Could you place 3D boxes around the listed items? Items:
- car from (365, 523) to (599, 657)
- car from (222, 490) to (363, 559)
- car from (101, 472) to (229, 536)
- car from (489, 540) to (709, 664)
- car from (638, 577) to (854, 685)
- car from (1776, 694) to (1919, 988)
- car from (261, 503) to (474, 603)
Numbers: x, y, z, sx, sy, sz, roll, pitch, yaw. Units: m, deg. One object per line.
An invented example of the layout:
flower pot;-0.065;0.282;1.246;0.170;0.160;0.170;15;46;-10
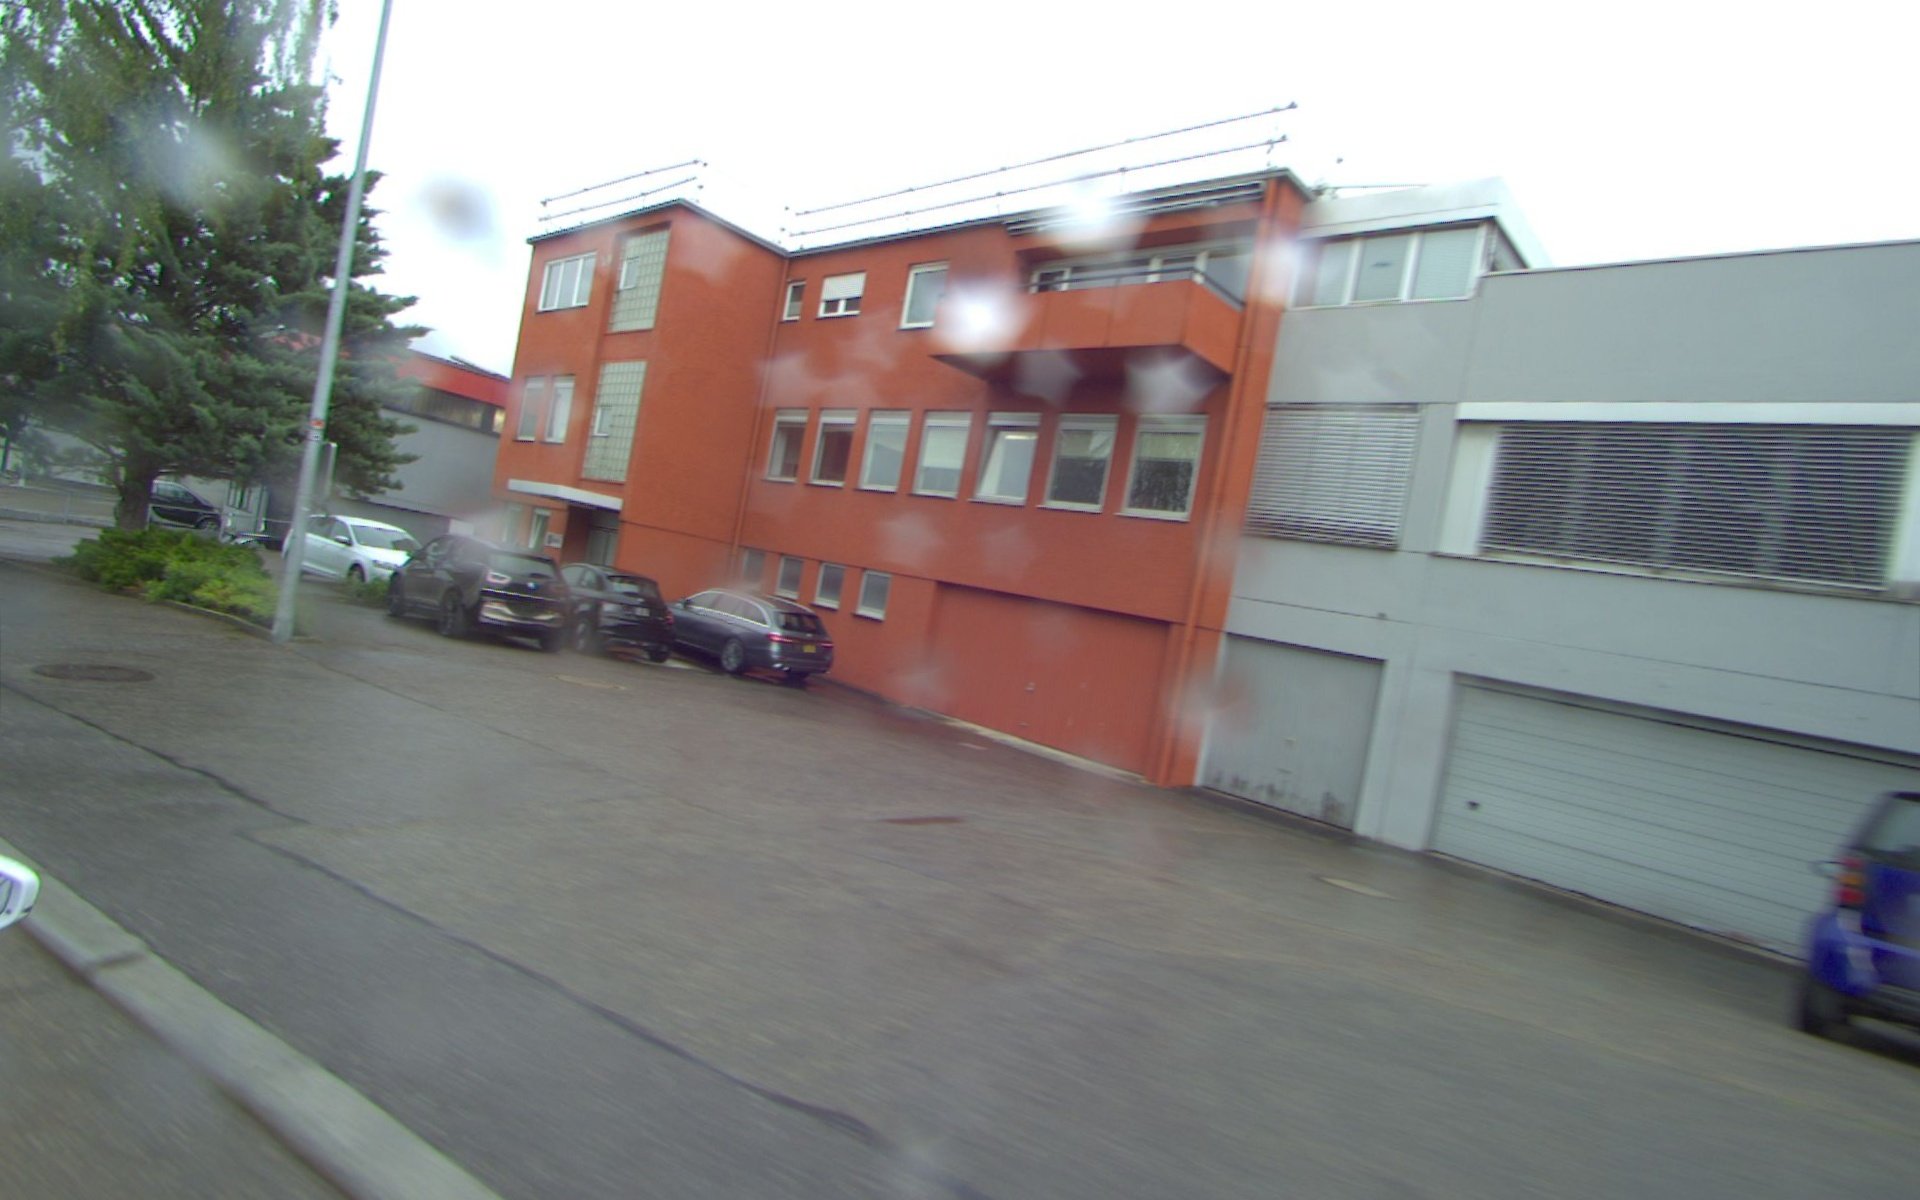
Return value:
car;-8.066;-0.224;16.764;4.453;1.596;1.993;7;-3;45
car;-19.658;-2.199;29.693;1.605;1.513;3.033;8;0;38
car;-24.237;-2.901;30.709;1.654;1.464;2.709;7;0;41
car;-6.830;-0.012;18.763;4.453;1.698;1.986;7;-1;45
car;-4.407;0.582;20.333;4.452;1.465;1.968;7;-3;44
car;6.554;1.811;6.550;1.597;1.510;3.444;8;-10;43
car;-12.433;-0.991;21.055;4.255;1.488;1.907;8;0;30
